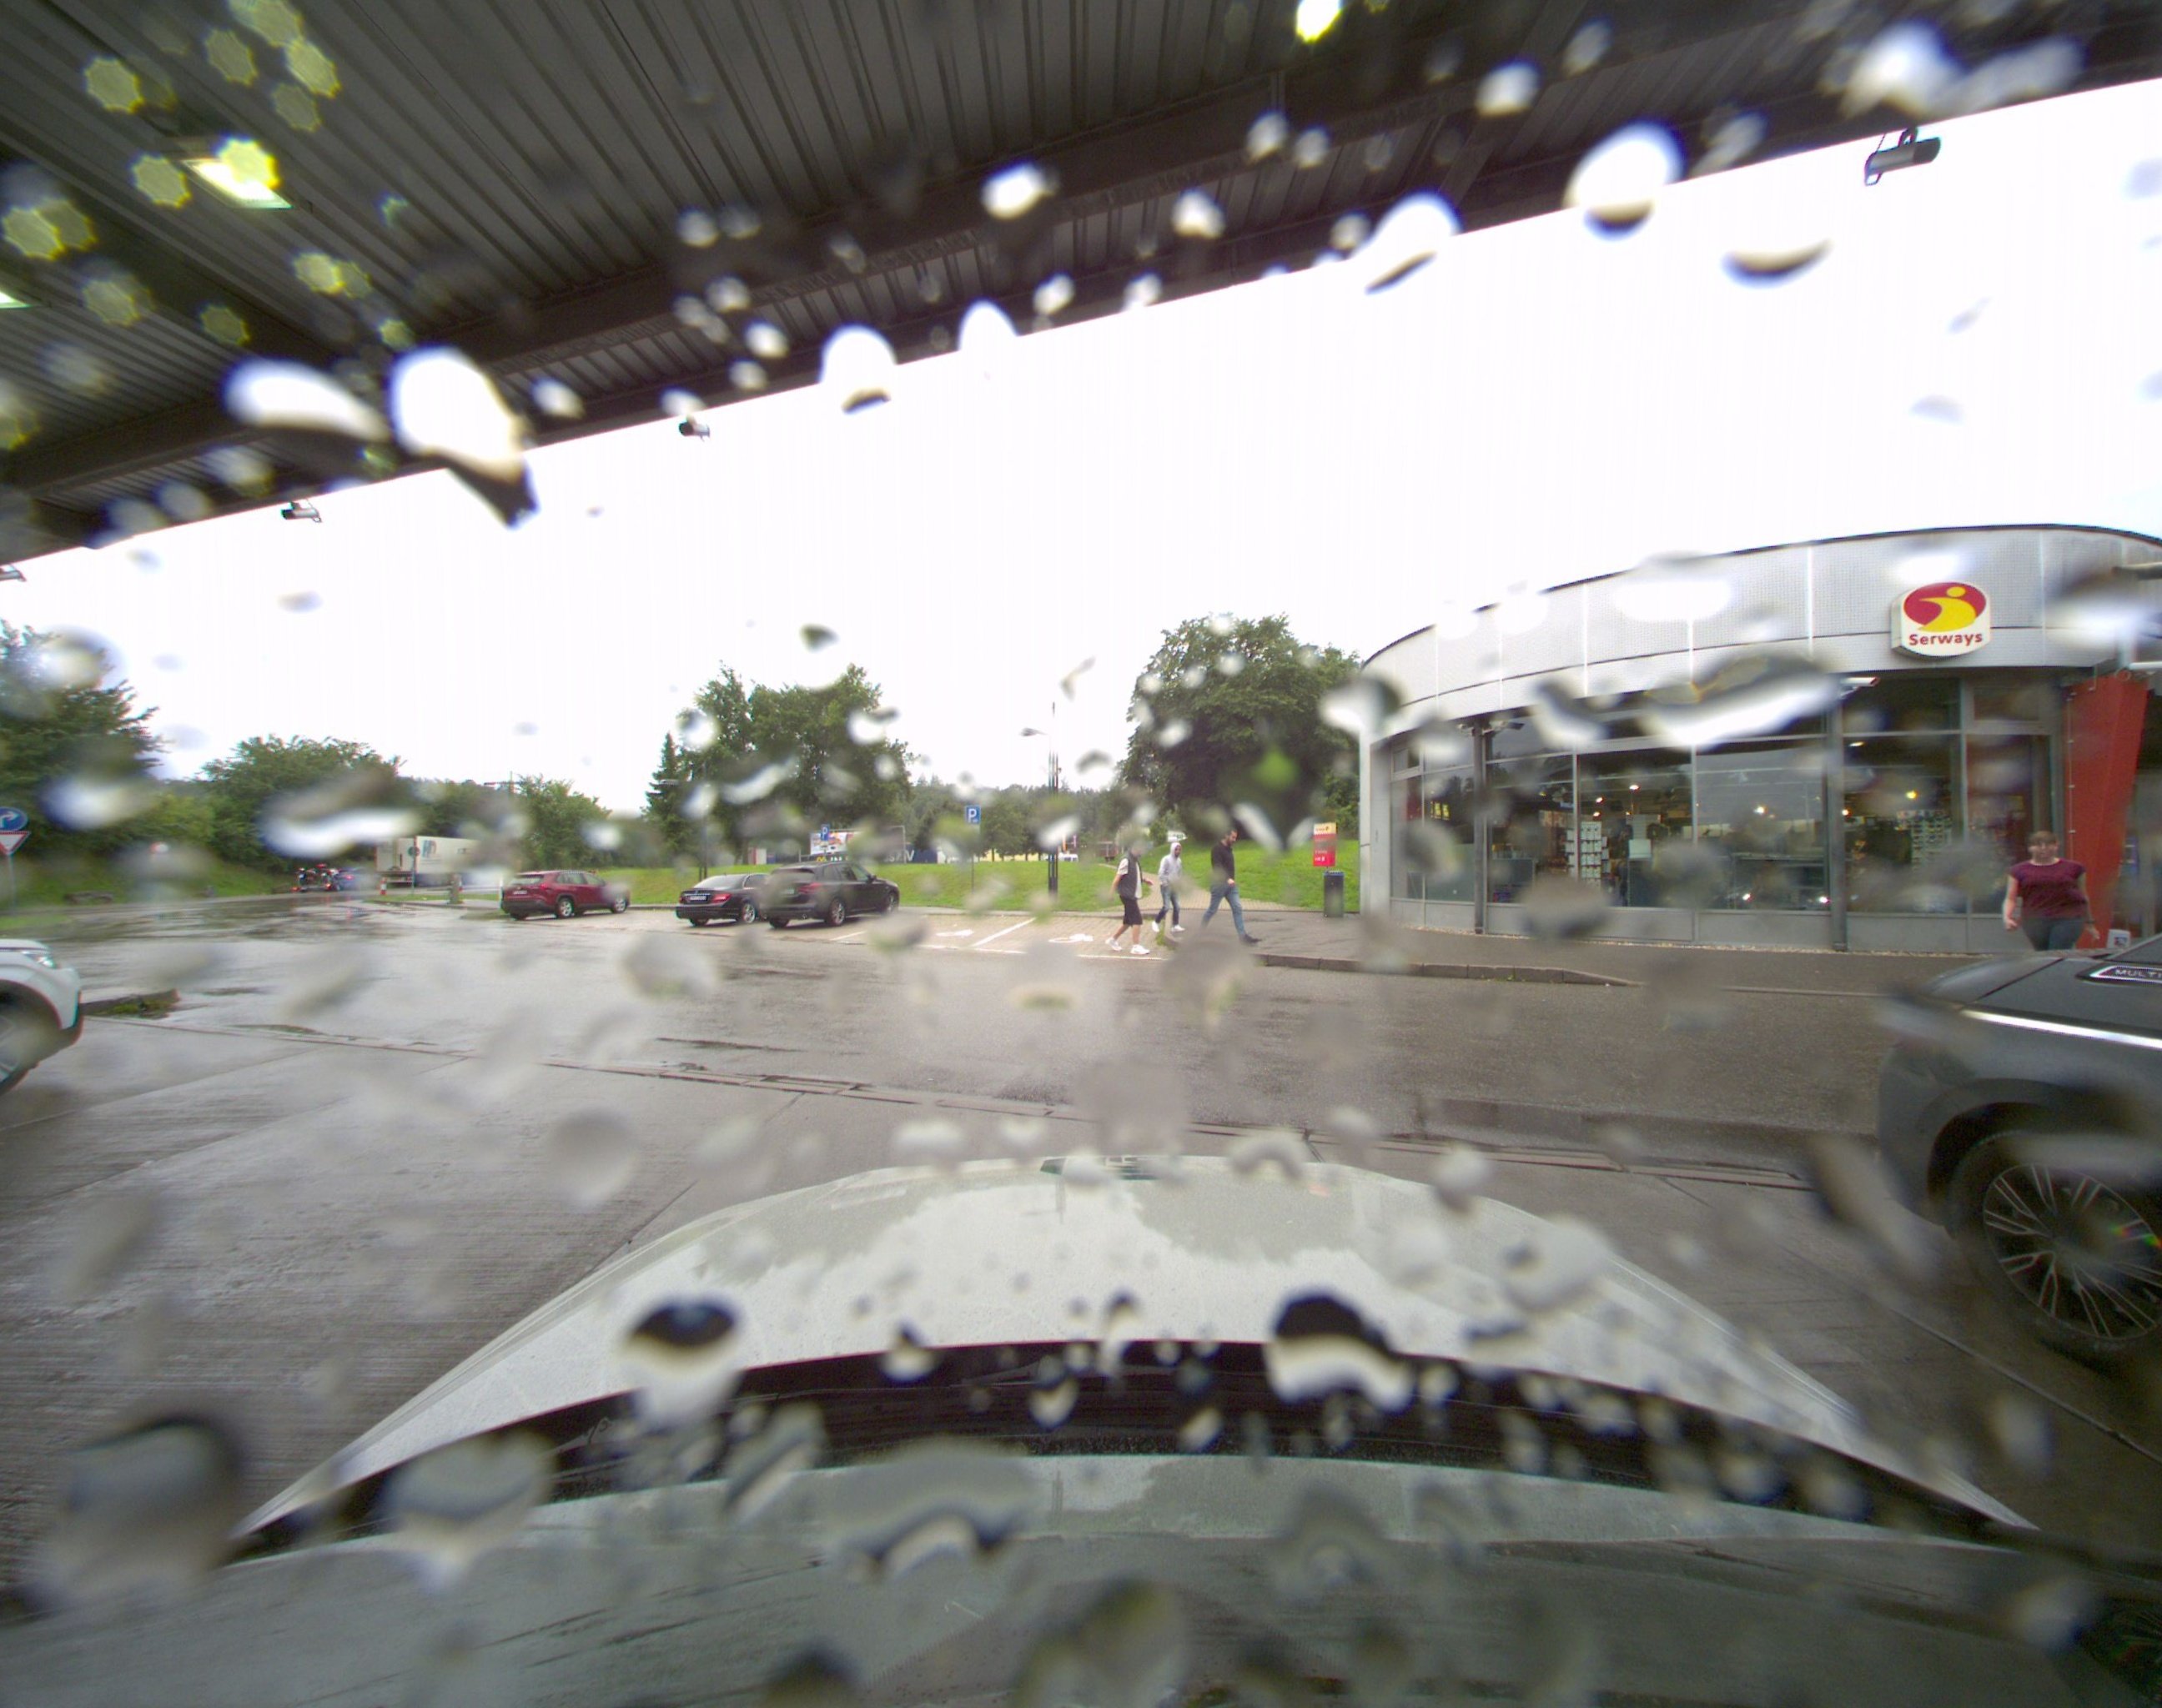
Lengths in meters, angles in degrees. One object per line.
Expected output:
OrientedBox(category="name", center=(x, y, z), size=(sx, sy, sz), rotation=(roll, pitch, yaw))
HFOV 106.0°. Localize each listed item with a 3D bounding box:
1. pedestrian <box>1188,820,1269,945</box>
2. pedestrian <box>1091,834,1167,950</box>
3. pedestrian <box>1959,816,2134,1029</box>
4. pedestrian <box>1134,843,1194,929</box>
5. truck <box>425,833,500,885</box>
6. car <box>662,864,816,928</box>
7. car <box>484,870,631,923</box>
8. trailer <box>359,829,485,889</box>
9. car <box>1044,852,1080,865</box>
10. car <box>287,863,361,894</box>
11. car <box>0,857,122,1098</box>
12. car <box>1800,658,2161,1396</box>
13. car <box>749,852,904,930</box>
OrientedBox(category="pedestrian", center=(2.315, 0.436, 12.759), size=(0.989, 1.864, 0.804), rotation=(-2, 0, 30))
OrientedBox(category="pedestrian", center=(0.801, 0.604, 13.495), size=(0.963, 1.848, 0.778), rotation=(-2, 0, 30))
OrientedBox(category="pedestrian", center=(8.518, 0.564, 7.237), size=(0.786, 1.734, 0.845), rotation=(-2, -1, 37))
OrientedBox(category="pedestrian", center=(1.543, 0.585, 15.127), size=(0.880, 1.550, 0.665), rotation=(-2, 0, 31))
OrientedBox(category="truck", center=(-57.101, 0.494, 75.426), size=(3.467, 4.557, 6.694), rotation=(0, -1, -18))
OrientedBox(category="car", center=(-9.611, 1.135, 23.302), size=(1.871, 1.565, 4.200), rotation=(-2, 0, 13))
OrientedBox(category="car", center=(-18.152, 1.414, 28.526), size=(1.873, 1.596, 4.364), rotation=(-2, 0, 8))
OrientedBox(category="trailer", center=(-54.879, 0.421, 68.485), size=(3.466, 4.557, 13.827), rotation=(0, -1, -18))
OrientedBox(category="car", center=(-3.172, 0.799, 134.081), size=(5.376, 2.013, 2.468), rotation=(-1, 0, 21))
OrientedBox(category="car", center=(-49.198, 1.551, 53.043), size=(1.934, 1.838, 4.361), rotation=(-1, 0, -20))
OrientedBox(category="car", center=(-7.865, 0.804, 3.441), size=(1.810, 1.565, 4.999), rotation=(0, 0, -2))
OrientedBox(category="car", center=(3.722, 0.451, 1.233), size=(1.809, 1.948, 4.002), rotation=(-1, 0, 2))
OrientedBox(category="car", center=(-6.610, 0.886, 21.744), size=(1.871, 1.828, 4.429), rotation=(-2, 0, 13))
